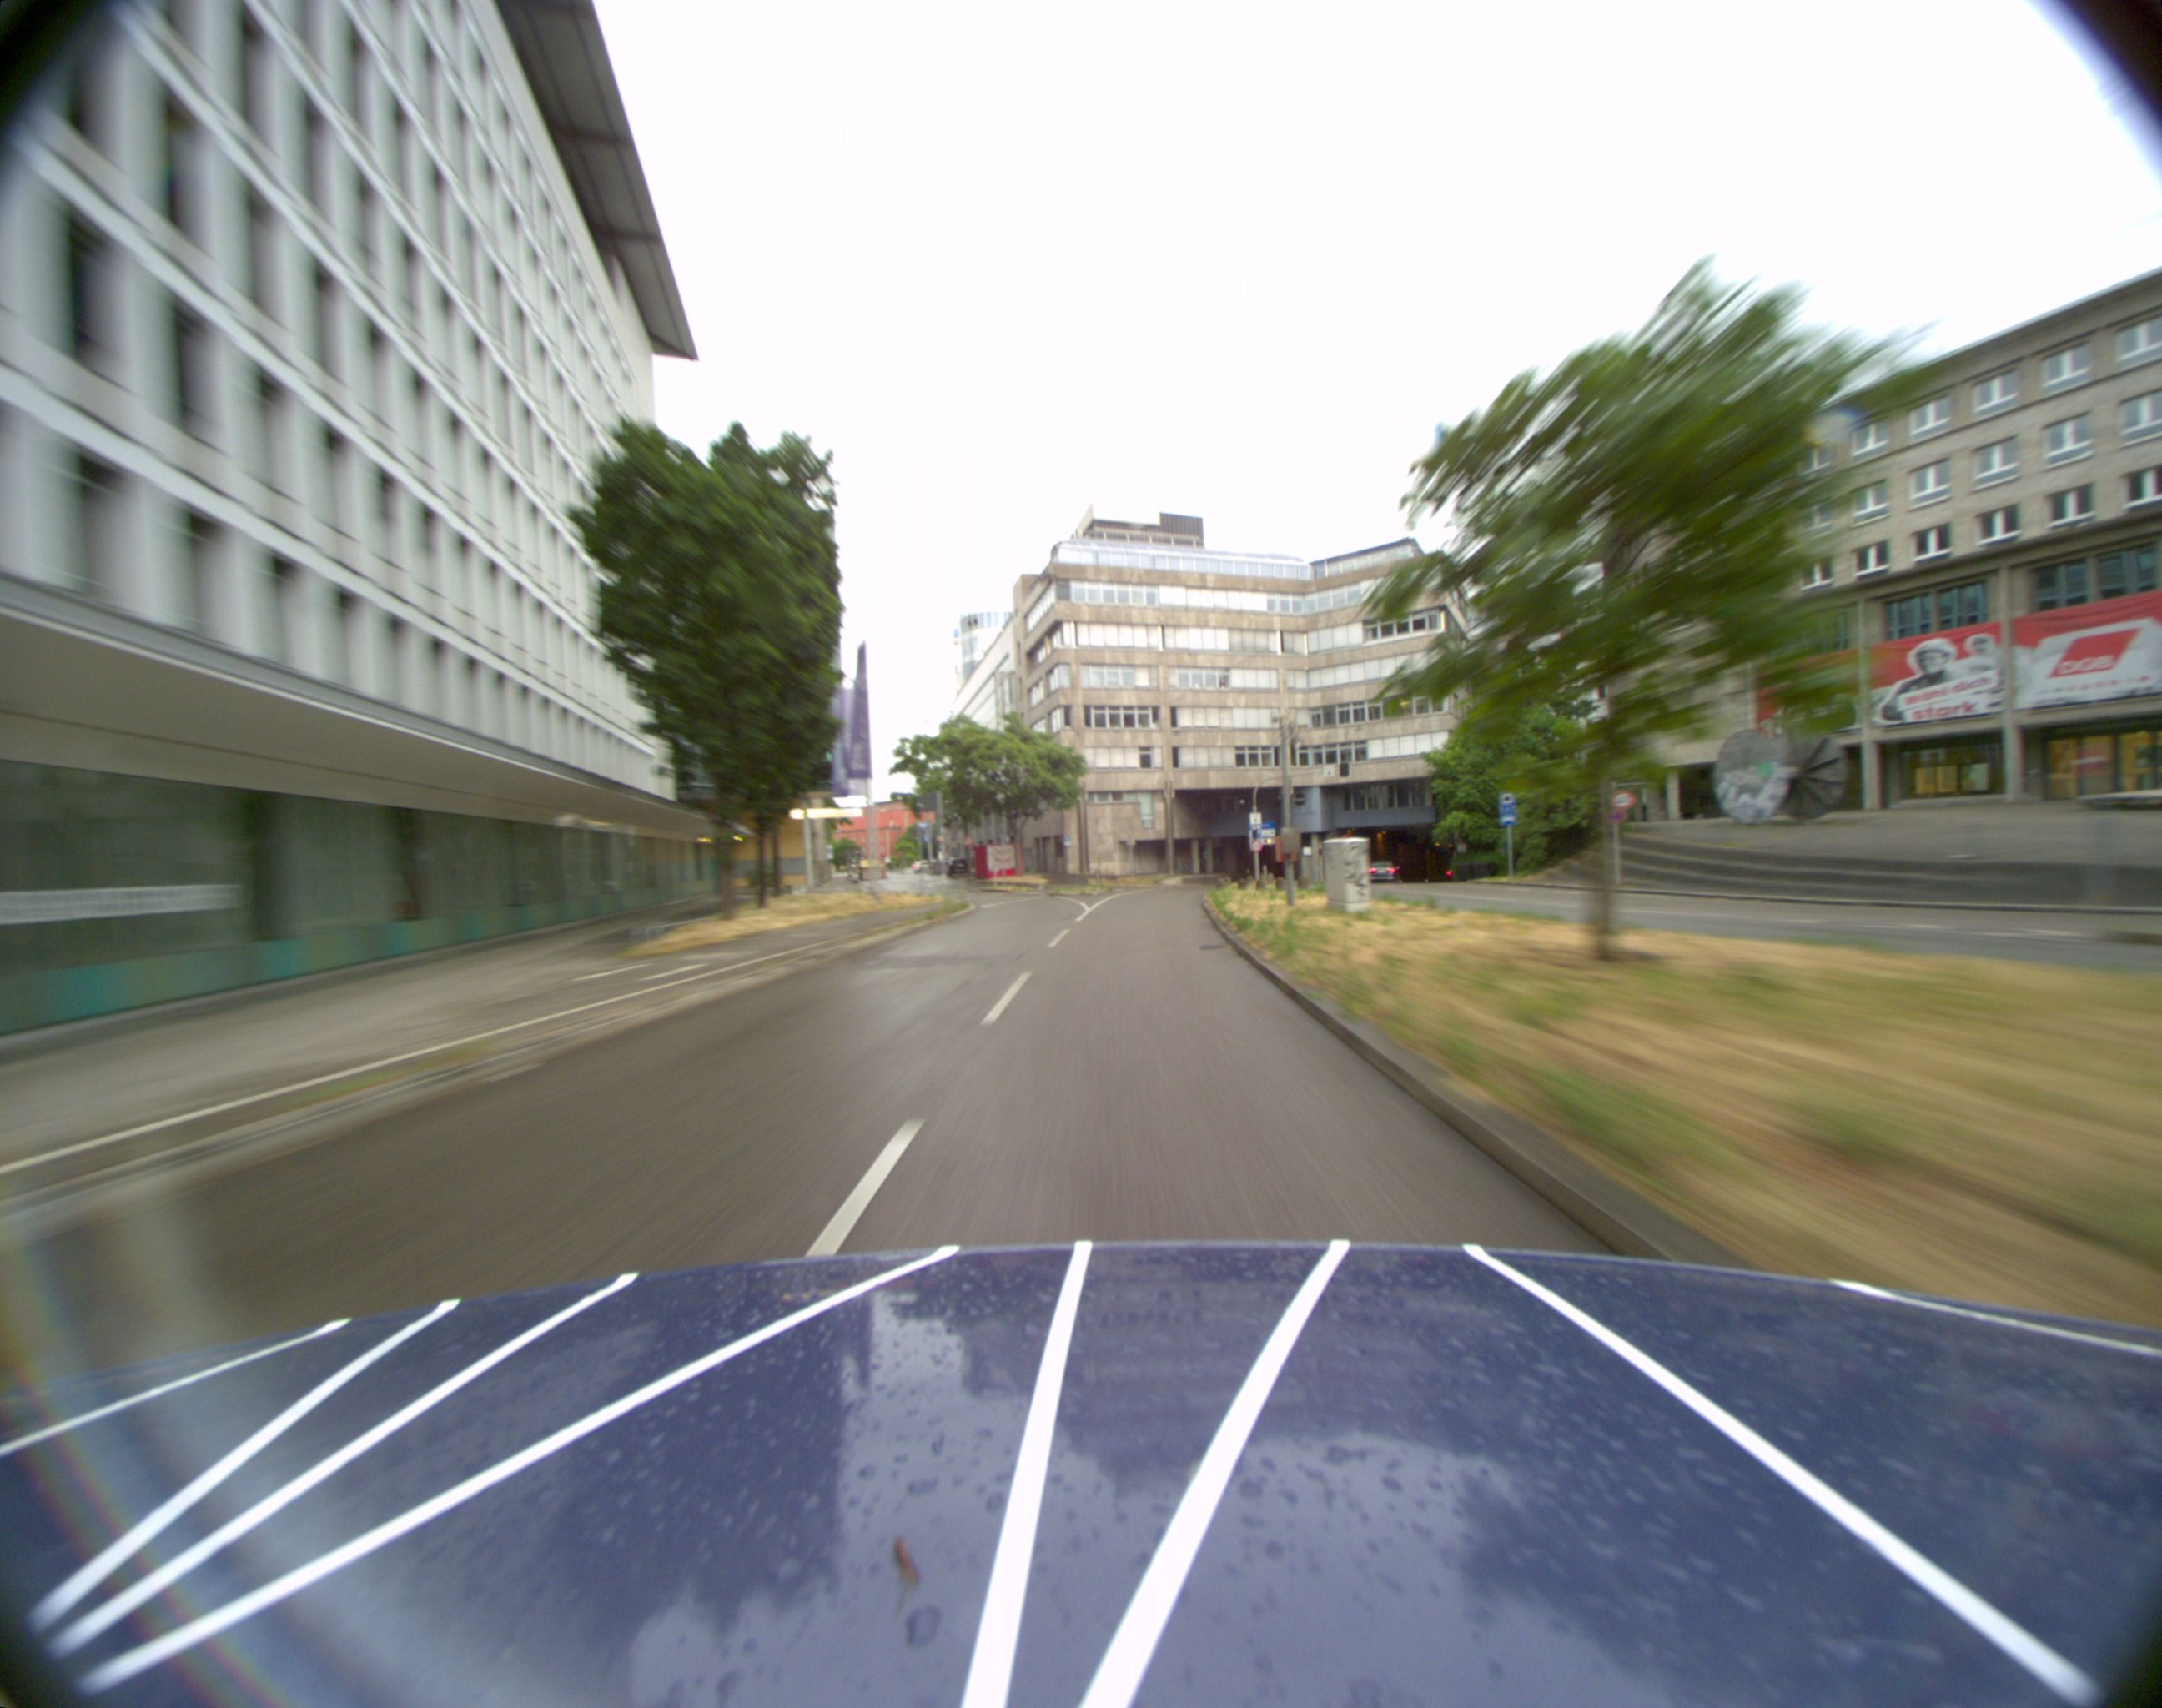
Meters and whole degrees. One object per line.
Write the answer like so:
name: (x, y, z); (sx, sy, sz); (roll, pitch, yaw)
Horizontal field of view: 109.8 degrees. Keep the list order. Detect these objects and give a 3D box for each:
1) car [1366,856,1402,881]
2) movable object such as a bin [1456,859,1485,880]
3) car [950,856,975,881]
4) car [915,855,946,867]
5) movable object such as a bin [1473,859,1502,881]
car: (20.071, 0.914, 50.490); (1.996, 1.484, 4.848); (-2, 0, 20)
movable object such as a bin: (27.434, 1.097, 53.507); (1.169, 1.442, 1.337); (-2, 0, -27)
car: (-11.134, 1.328, 70.973); (2.000, 2.067, 3.996); (-4, 1, -12)
car: (-20.632, 0.969, 104.429); (3.777, 1.641, 1.795); (-1, 0, -31)
movable object such as a bin: (27.909, 1.081, 52.196); (1.297, 1.442, 1.205); (-2, 0, -19)
